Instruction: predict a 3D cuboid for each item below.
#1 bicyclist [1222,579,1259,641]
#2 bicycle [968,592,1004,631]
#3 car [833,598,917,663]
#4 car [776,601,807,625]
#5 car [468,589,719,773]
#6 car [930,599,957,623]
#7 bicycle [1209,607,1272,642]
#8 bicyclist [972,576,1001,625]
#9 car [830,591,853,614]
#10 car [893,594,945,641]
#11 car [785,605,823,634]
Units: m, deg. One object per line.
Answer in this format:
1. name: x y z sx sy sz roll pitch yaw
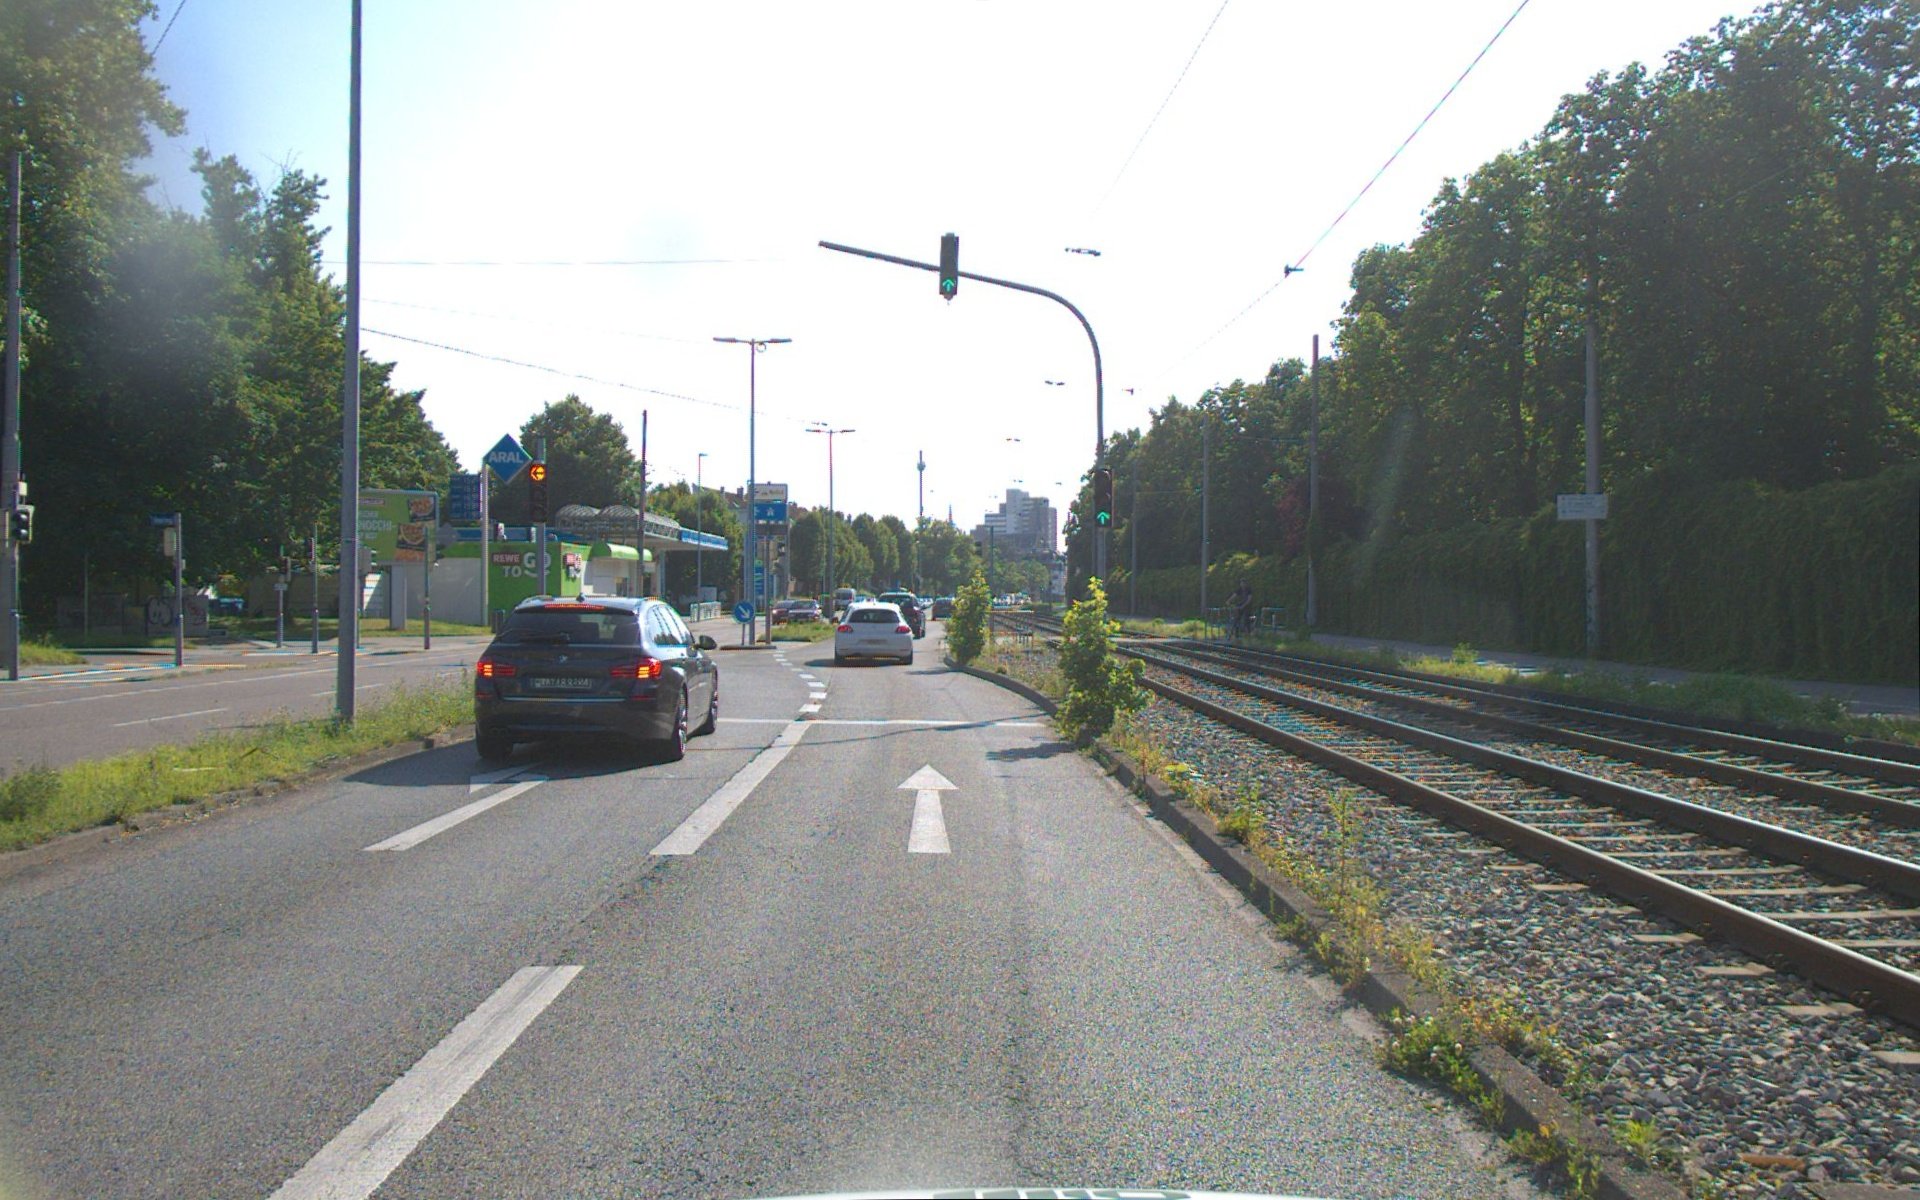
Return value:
1. bicyclist: 9.253 0.334 54.566 1.012 2.028 0.947 0 0 24
2. bicycle: 0.804 0.356 50.012 0.629 1.174 1.938 0 -1 15
3. car: -1.915 0.672 38.312 1.744 1.380 3.601 2 0 0
4. car: -10.271 0.785 100.907 1.541 1.441 3.333 0 0 0
5. car: -3.422 0.682 16.279 1.725 1.511 4.641 2 0 -4
6. car: -1.087 0.707 109.474 1.713 1.511 3.601 2 0 0
7. bicycle: 9.263 0.790 54.561 1.882 1.134 0.947 0 0 24
8. bicyclist: 0.803 0.027 50.035 0.629 1.441 1.013 -1 -2 15
9. car: -12.818 0.228 179.304 1.952 2.418 4.540 0 0 3
10. car: -1.528 0.610 60.605 1.690 1.620 3.598 2 0 -4
11. car: -8.028 0.980 85.395 1.619 1.420 4.133 0 0 -1
